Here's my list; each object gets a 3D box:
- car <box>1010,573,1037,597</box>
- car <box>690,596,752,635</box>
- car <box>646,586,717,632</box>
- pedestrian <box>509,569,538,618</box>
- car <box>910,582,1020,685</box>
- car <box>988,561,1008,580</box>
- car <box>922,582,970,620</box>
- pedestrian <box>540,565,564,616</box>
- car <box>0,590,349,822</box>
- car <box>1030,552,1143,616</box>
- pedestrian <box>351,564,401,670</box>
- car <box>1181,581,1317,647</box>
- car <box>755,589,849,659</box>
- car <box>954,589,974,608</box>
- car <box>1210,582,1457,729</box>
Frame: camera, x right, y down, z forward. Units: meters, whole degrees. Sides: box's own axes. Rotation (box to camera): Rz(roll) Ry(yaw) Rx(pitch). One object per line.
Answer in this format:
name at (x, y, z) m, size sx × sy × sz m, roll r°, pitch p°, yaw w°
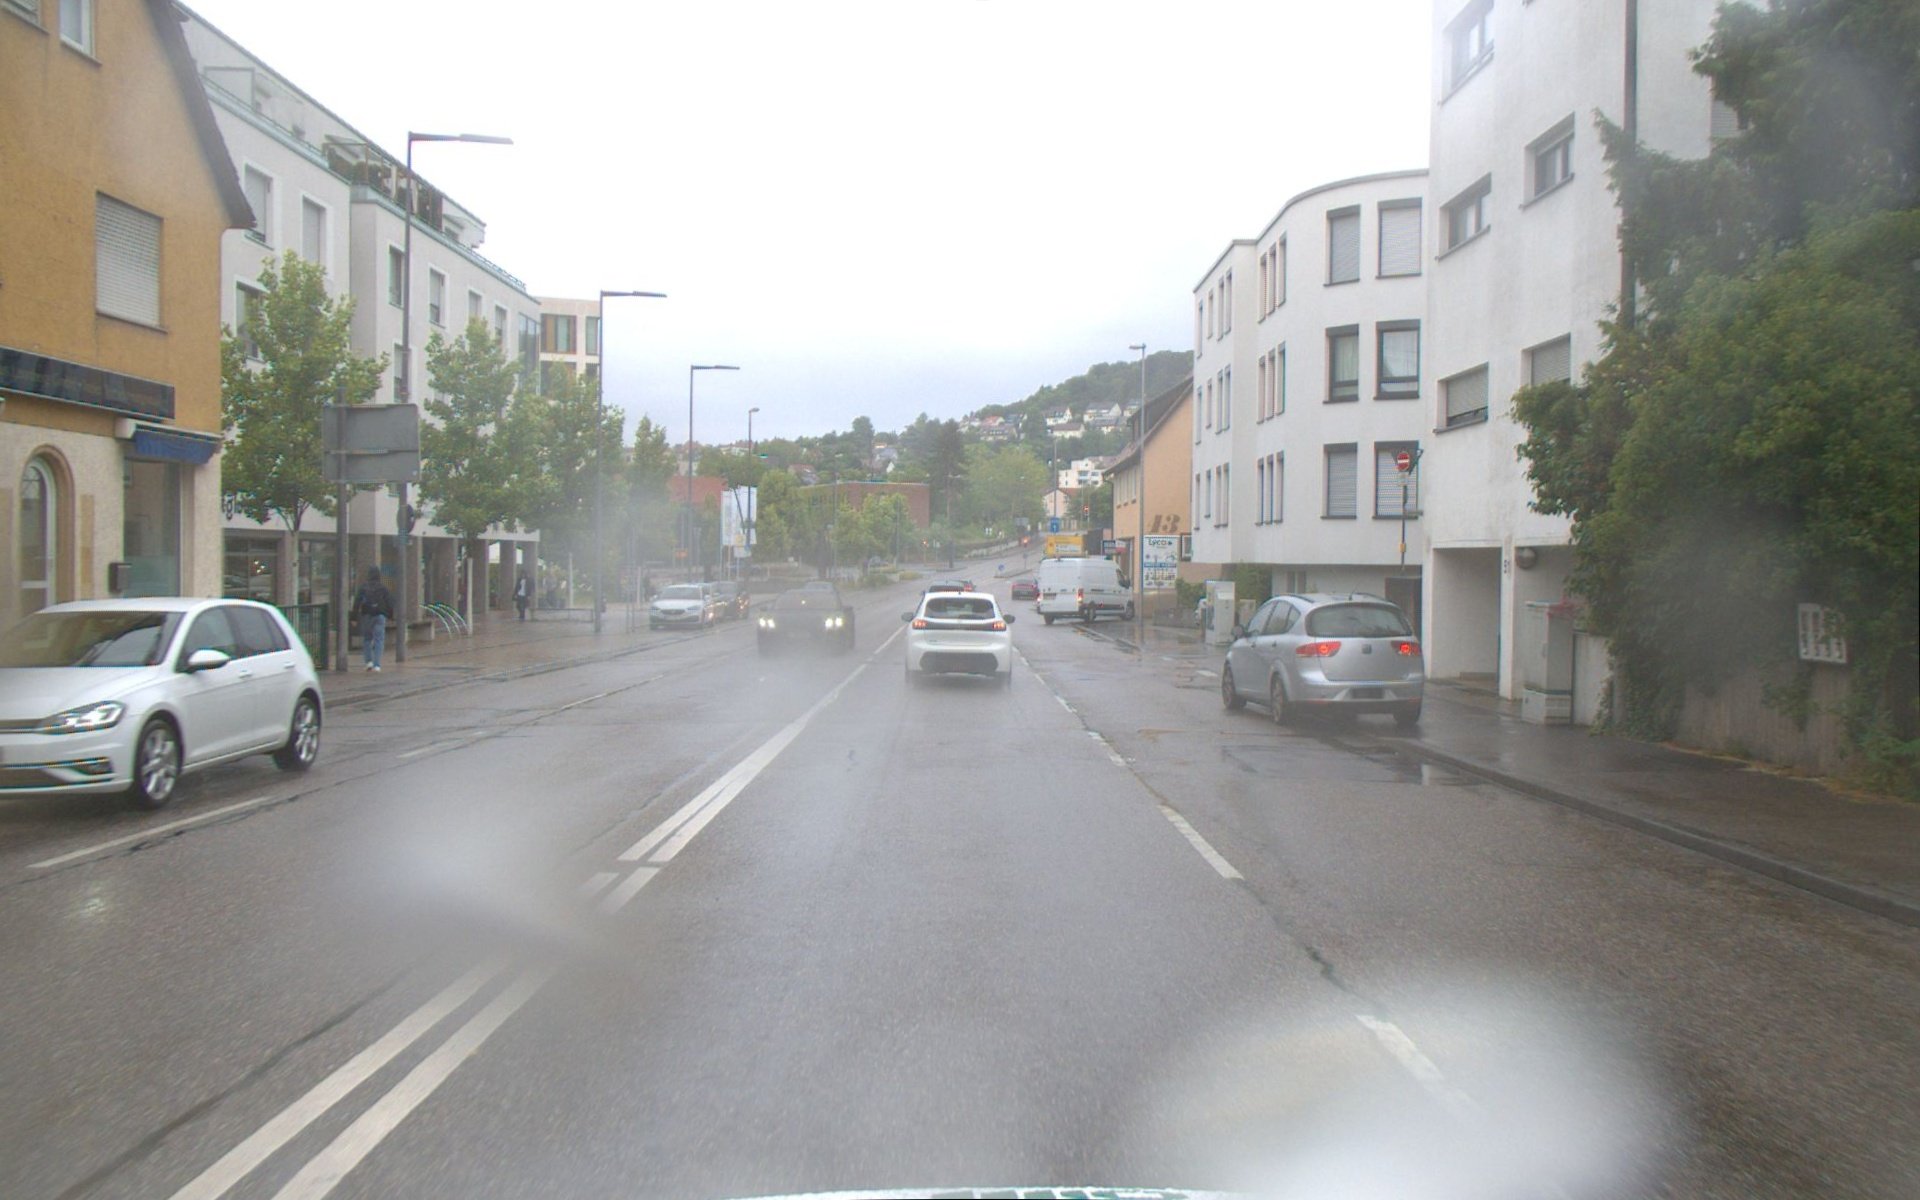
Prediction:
car at (4.519, -1.089, 118.200) m, size 1.699 × 1.411 × 3.353 m, roll 1°, pitch 4°, yaw -1°
car at (-9.715, 0.614, 67.494) m, size 1.656 × 1.536 × 4.579 m, roll -1°, pitch 0°, yaw 2°
car at (-9.233, 0.307, 55.156) m, size 1.759 × 1.488 × 4.476 m, roll 0°, pitch 0°, yaw -2°
pedestrian at (-15.993, -0.220, 60.624) m, size 0.792 × 1.768 × 1.003 m, roll -1°, pitch -1°, yaw -1°
car at (0.041, 0.522, 27.027) m, size 1.656 × 1.546 × 3.932 m, roll 0°, pitch -1°, yaw -1°
car at (3.841, -2.977, 167.728) m, size 1.806 × 1.743 × 3.770 m, roll -1°, pitch 0°, yaw -1°
car at (-0.501, 0.023, 61.362) m, size 1.705 × 1.318 × 3.334 m, roll -1°, pitch 1°, yaw 0°
pedestrian at (-17.473, -0.407, 70.873) m, size 0.731 × 2.182 × 0.771 m, roll 0°, pitch -1°, yaw 12°
car at (-6.266, 0.707, 12.588) m, size 1.615 × 1.442 × 4.138 m, roll -3°, pitch 0°, yaw 0°
car at (5.196, -0.622, 66.923) m, size 2.246 × 2.423 × 6.618 m, roll -1°, pitch 0°, yaw 27°
pedestrian at (-10.168, 0.291, 28.780) m, size 0.789 × 1.819 × 0.876 m, roll 0°, pitch -1°, yaw -22°
car at (8.847, 0.403, 50.838) m, size 3.716 × 1.556 × 1.820 m, roll 7°, pitch 1°, yaw -1°
car at (-3.479, 0.517, 37.115) m, size 1.732 × 1.438 × 4.525 m, roll -1°, pitch 0°, yaw -1°
car at (0.258, -0.095, 105.864) m, size 1.188 × 1.176 × 2.269 m, roll 0°, pitch 0°, yaw -3°
car at (4.577, 0.681, 20.947) m, size 1.971 × 1.650 × 4.358 m, roll 1°, pitch -1°, yaw -3°
